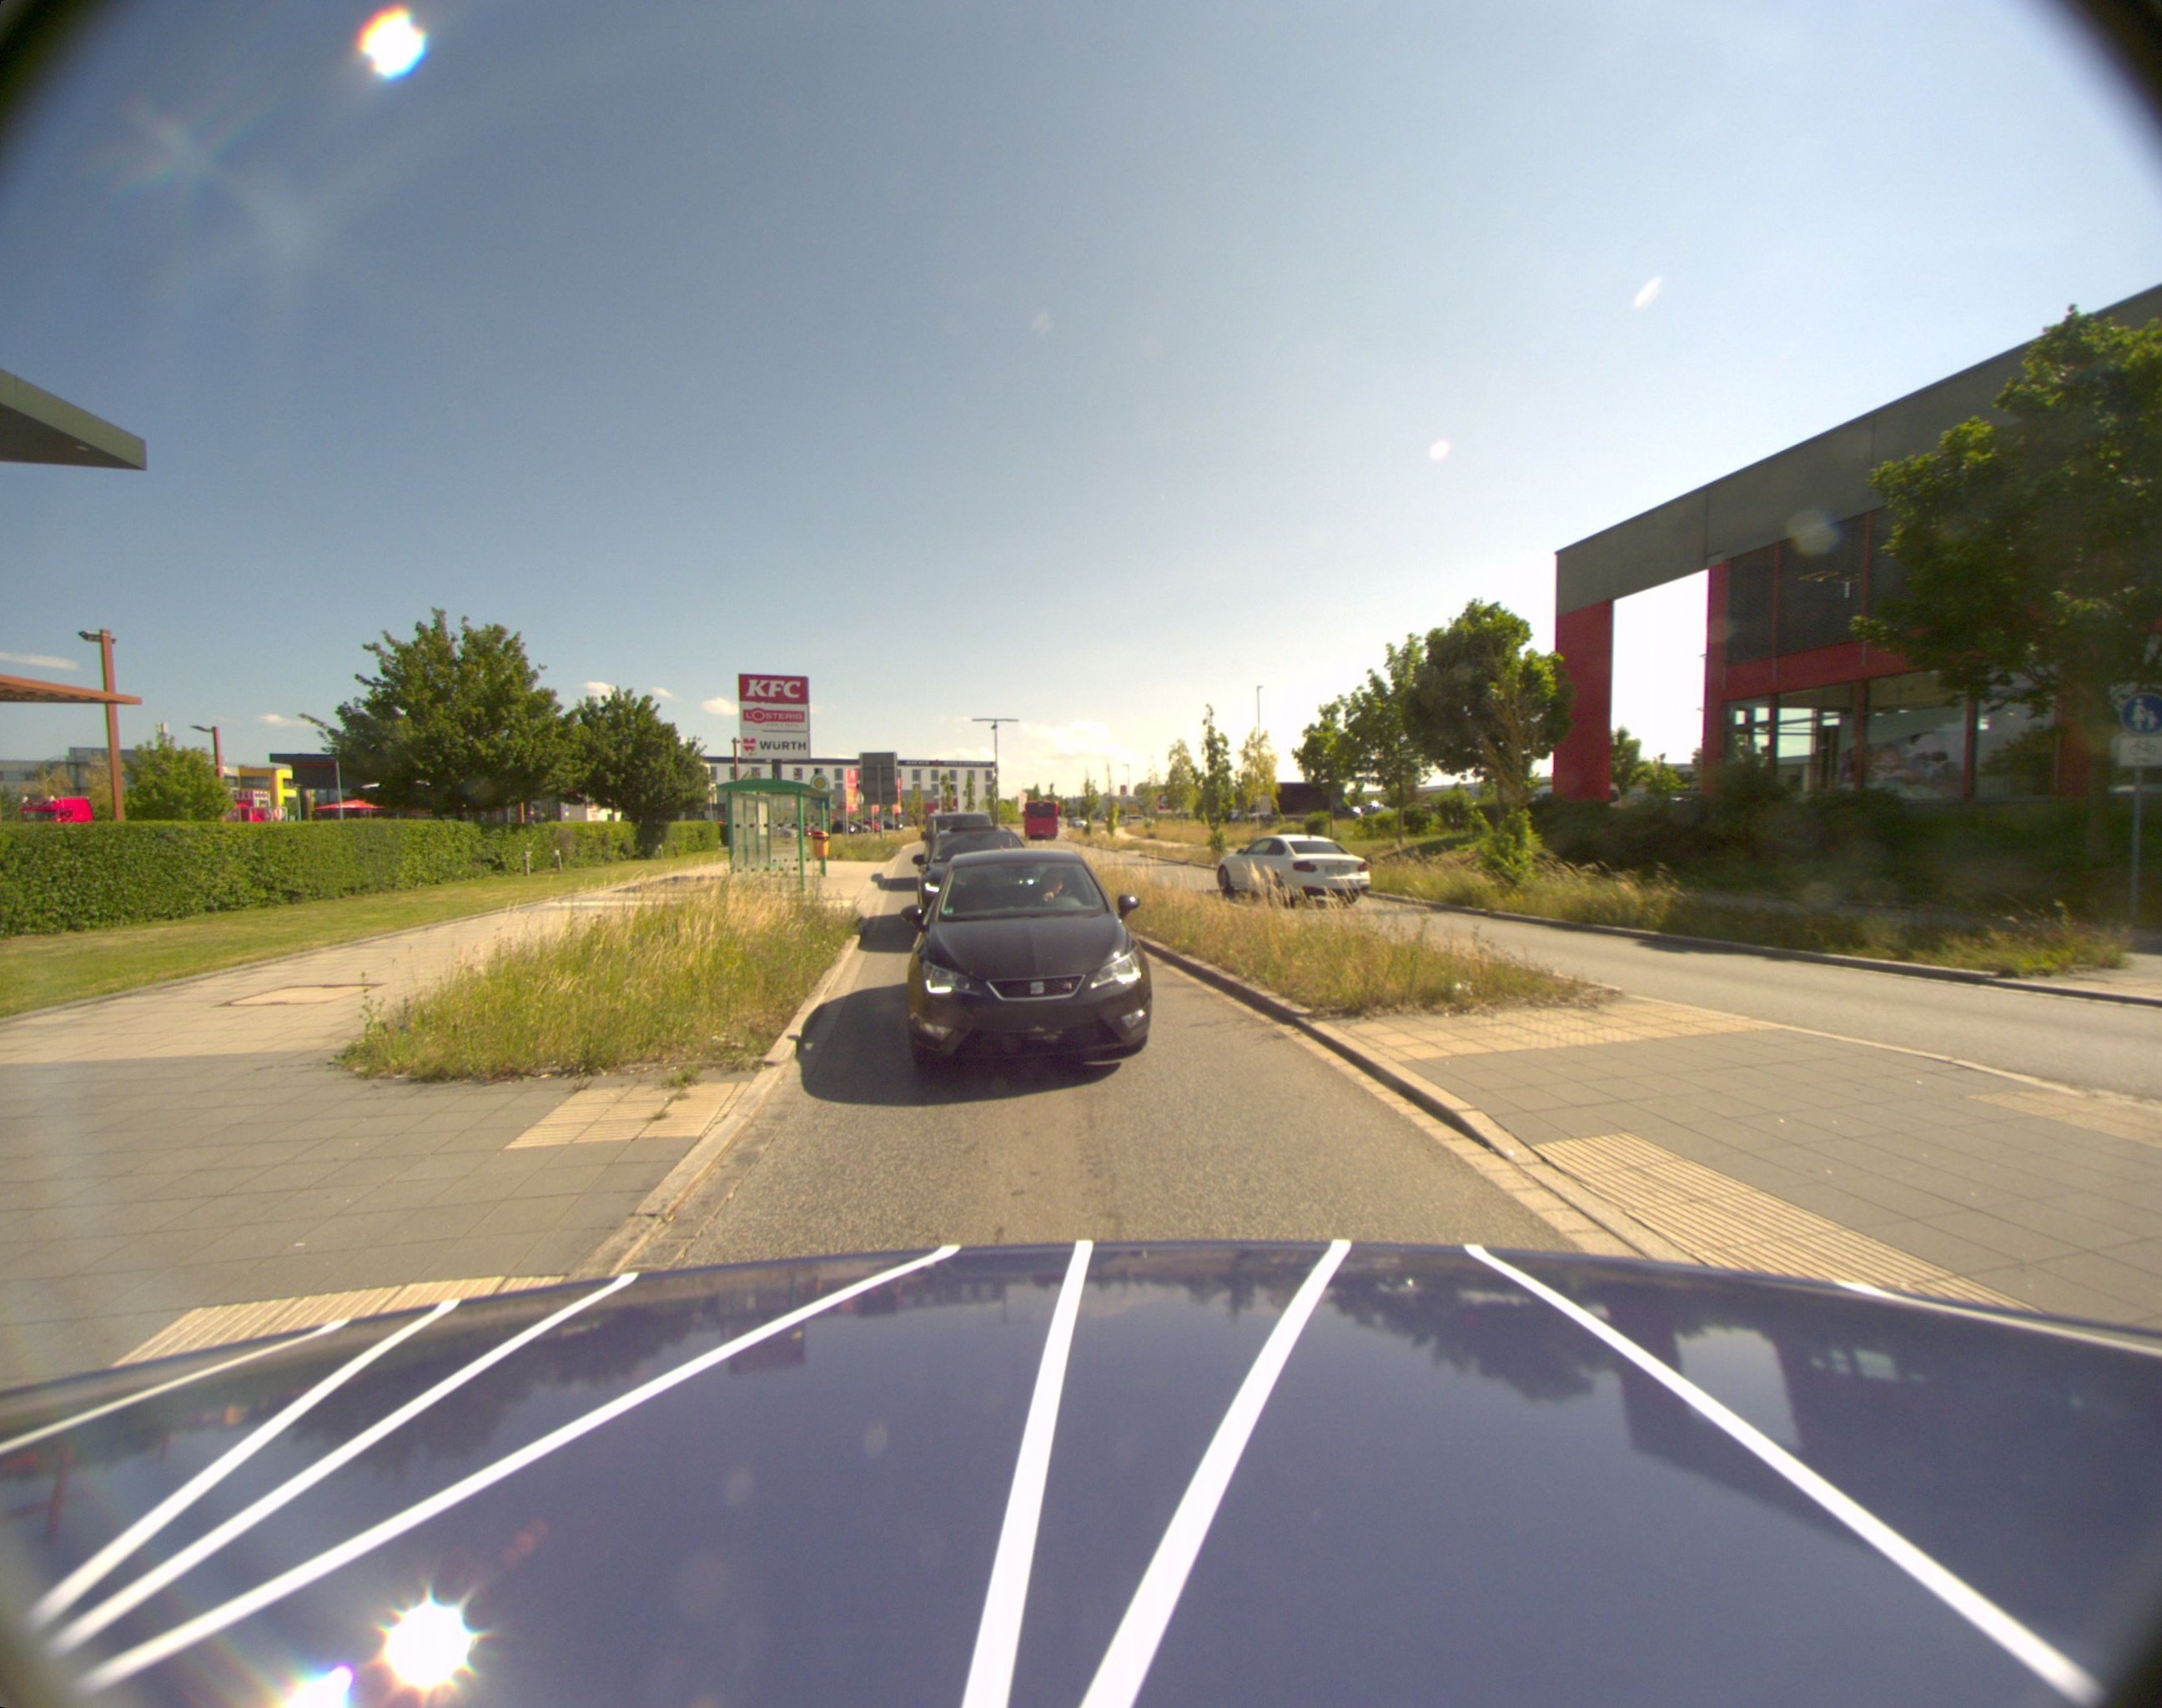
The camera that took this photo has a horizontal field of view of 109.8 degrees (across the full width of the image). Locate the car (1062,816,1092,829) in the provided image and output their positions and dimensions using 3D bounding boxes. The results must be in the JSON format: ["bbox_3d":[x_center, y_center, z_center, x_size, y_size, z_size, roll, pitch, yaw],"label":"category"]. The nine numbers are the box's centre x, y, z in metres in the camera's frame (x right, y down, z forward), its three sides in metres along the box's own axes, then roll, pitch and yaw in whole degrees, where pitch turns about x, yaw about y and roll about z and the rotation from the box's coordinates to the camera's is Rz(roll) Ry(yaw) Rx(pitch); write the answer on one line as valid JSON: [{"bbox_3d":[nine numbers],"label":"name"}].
[{"bbox_3d":[-0.583,-4.385,105.975,3.934,1.667,1.622,1,3,35],"label":"car"}]

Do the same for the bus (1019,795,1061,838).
[{"bbox_3d":[-3.523,-3.026,62.587,2.617,3.224,11.868,-1,2,-7],"label":"bus"}]

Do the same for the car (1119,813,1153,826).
[{"bbox_3d":[7.440,-4.684,102.895,4.282,1.667,1.617,-1,3,-6],"label":"car"}]

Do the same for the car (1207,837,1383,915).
[{"bbox_3d":[4.521,0.377,16.853,1.798,1.408,4.374,0,2,-14],"label":"car"}]

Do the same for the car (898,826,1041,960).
[{"bbox_3d":[-1.848,0.460,12.534,1.863,1.679,3.994,-4,4,-9],"label":"car"}]

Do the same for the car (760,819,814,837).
[{"bbox_3d":[-28.220,-2.472,73.054,4.442,1.644,1.931,-1,3,-5],"label":"car"}]

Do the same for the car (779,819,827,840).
[{"bbox_3d":[-28.410,-2.507,77.711,4.183,2.003,1.933,-1,3,3],"label":"car"}]

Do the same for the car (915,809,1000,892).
[{"bbox_3d":[-3.582,-0.209,22.132,2.081,2.038,4.676,-4,4,-9],"label":"car"}]

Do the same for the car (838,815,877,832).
[{"bbox_3d":[-27.096,-3.675,92.189,4.184,2.003,1.932,-1,3,1],"label":"car"}]

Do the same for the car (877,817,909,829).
[{"bbox_3d":[-25.219,-4.130,101.923,3.821,1.611,1.756,-1,3,2],"label":"car"}]

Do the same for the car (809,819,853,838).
[{"bbox_3d":[-27.872,-2.882,84.756,4.183,2.003,1.933,-1,3,3],"label":"car"}]

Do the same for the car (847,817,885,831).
[{"bbox_3d":[-27.036,-3.771,95.516,4.182,1.752,1.824,0,3,6],"label":"car"}]

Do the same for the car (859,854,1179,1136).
[{"bbox_3d":[-0.552,0.818,6.459,1.863,1.460,3.996,-1,2,-6],"label":"car"}]

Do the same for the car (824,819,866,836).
[{"bbox_3d":[-27.015,-3.061,87.068,4.182,1.847,1.803,0,3,6],"label":"car"}]
